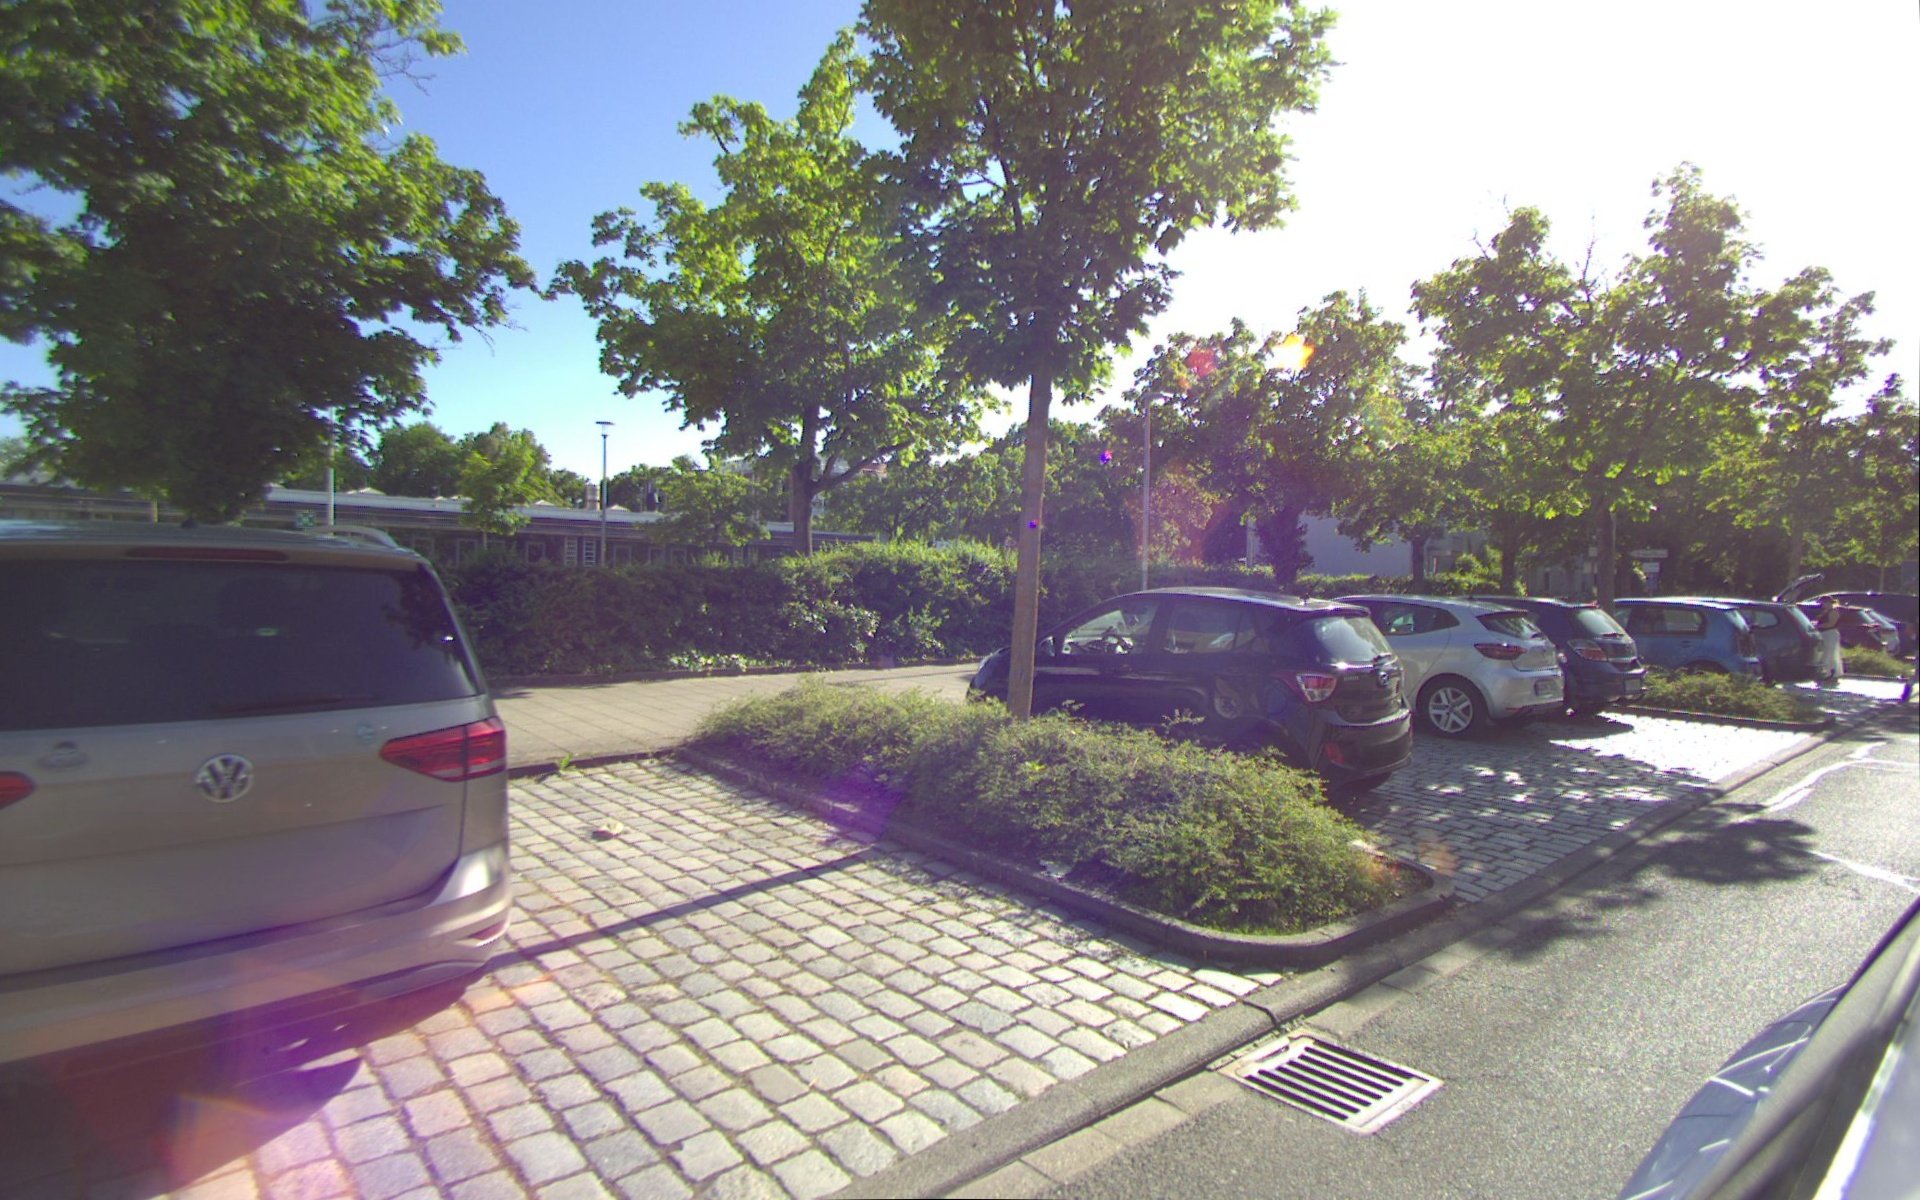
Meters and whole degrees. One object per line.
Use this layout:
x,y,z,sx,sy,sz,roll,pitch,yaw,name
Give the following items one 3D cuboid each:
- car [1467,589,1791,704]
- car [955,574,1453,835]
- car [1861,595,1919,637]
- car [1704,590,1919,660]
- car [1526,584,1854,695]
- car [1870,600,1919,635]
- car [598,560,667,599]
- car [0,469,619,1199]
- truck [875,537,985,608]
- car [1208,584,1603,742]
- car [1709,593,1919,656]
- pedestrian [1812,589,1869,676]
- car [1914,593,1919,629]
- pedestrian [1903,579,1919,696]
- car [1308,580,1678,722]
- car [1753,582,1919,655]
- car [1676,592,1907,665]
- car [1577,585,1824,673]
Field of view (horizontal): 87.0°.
10.223,0.634,15.687,1.593,1.486,3.905,2,0,-42,car
1.755,0.589,8.009,1.717,1.507,3.458,-1,3,-42,car
39.355,0.693,40.916,1.798,1.617,4.161,0,2,-42,car
21.278,0.582,25.396,1.777,1.454,3.906,1,2,-42,car
12.130,0.561,17.034,1.707,1.538,4.192,1,2,-42,car
42.563,0.822,44.063,1.798,1.423,4.161,0,2,-42,car
-15.549,-0.995,47.984,1.865,1.705,4.226,2,0,-36,car
-3.229,0.462,4.035,1.880,1.628,4.324,0,2,-44,car
-1.876,-1.612,59.587,2.760,3.855,6.918,2,0,-39,truck
4.956,0.586,11.656,1.809,1.434,3.742,1,1,-39,car
23.243,0.613,27.656,1.798,1.423,4.161,0,2,-42,car
16.799,0.607,19.303,0.764,1.599,0.663,1,-1,44,pedestrian
50.034,0.652,49.547,1.798,1.794,4.657,0,2,-42,car
15.212,0.580,15.679,1.148,1.793,0.720,0,2,-42,pedestrian
6.842,0.545,13.327,1.809,1.516,3.904,1,1,-39,car
25.780,0.482,29.264,1.847,1.869,4.164,0,2,-40,car
19.013,0.576,23.259,1.644,1.444,3.905,-1,2,-42,car
15.357,0.553,21.127,1.651,1.598,3.905,2,0,-42,car
